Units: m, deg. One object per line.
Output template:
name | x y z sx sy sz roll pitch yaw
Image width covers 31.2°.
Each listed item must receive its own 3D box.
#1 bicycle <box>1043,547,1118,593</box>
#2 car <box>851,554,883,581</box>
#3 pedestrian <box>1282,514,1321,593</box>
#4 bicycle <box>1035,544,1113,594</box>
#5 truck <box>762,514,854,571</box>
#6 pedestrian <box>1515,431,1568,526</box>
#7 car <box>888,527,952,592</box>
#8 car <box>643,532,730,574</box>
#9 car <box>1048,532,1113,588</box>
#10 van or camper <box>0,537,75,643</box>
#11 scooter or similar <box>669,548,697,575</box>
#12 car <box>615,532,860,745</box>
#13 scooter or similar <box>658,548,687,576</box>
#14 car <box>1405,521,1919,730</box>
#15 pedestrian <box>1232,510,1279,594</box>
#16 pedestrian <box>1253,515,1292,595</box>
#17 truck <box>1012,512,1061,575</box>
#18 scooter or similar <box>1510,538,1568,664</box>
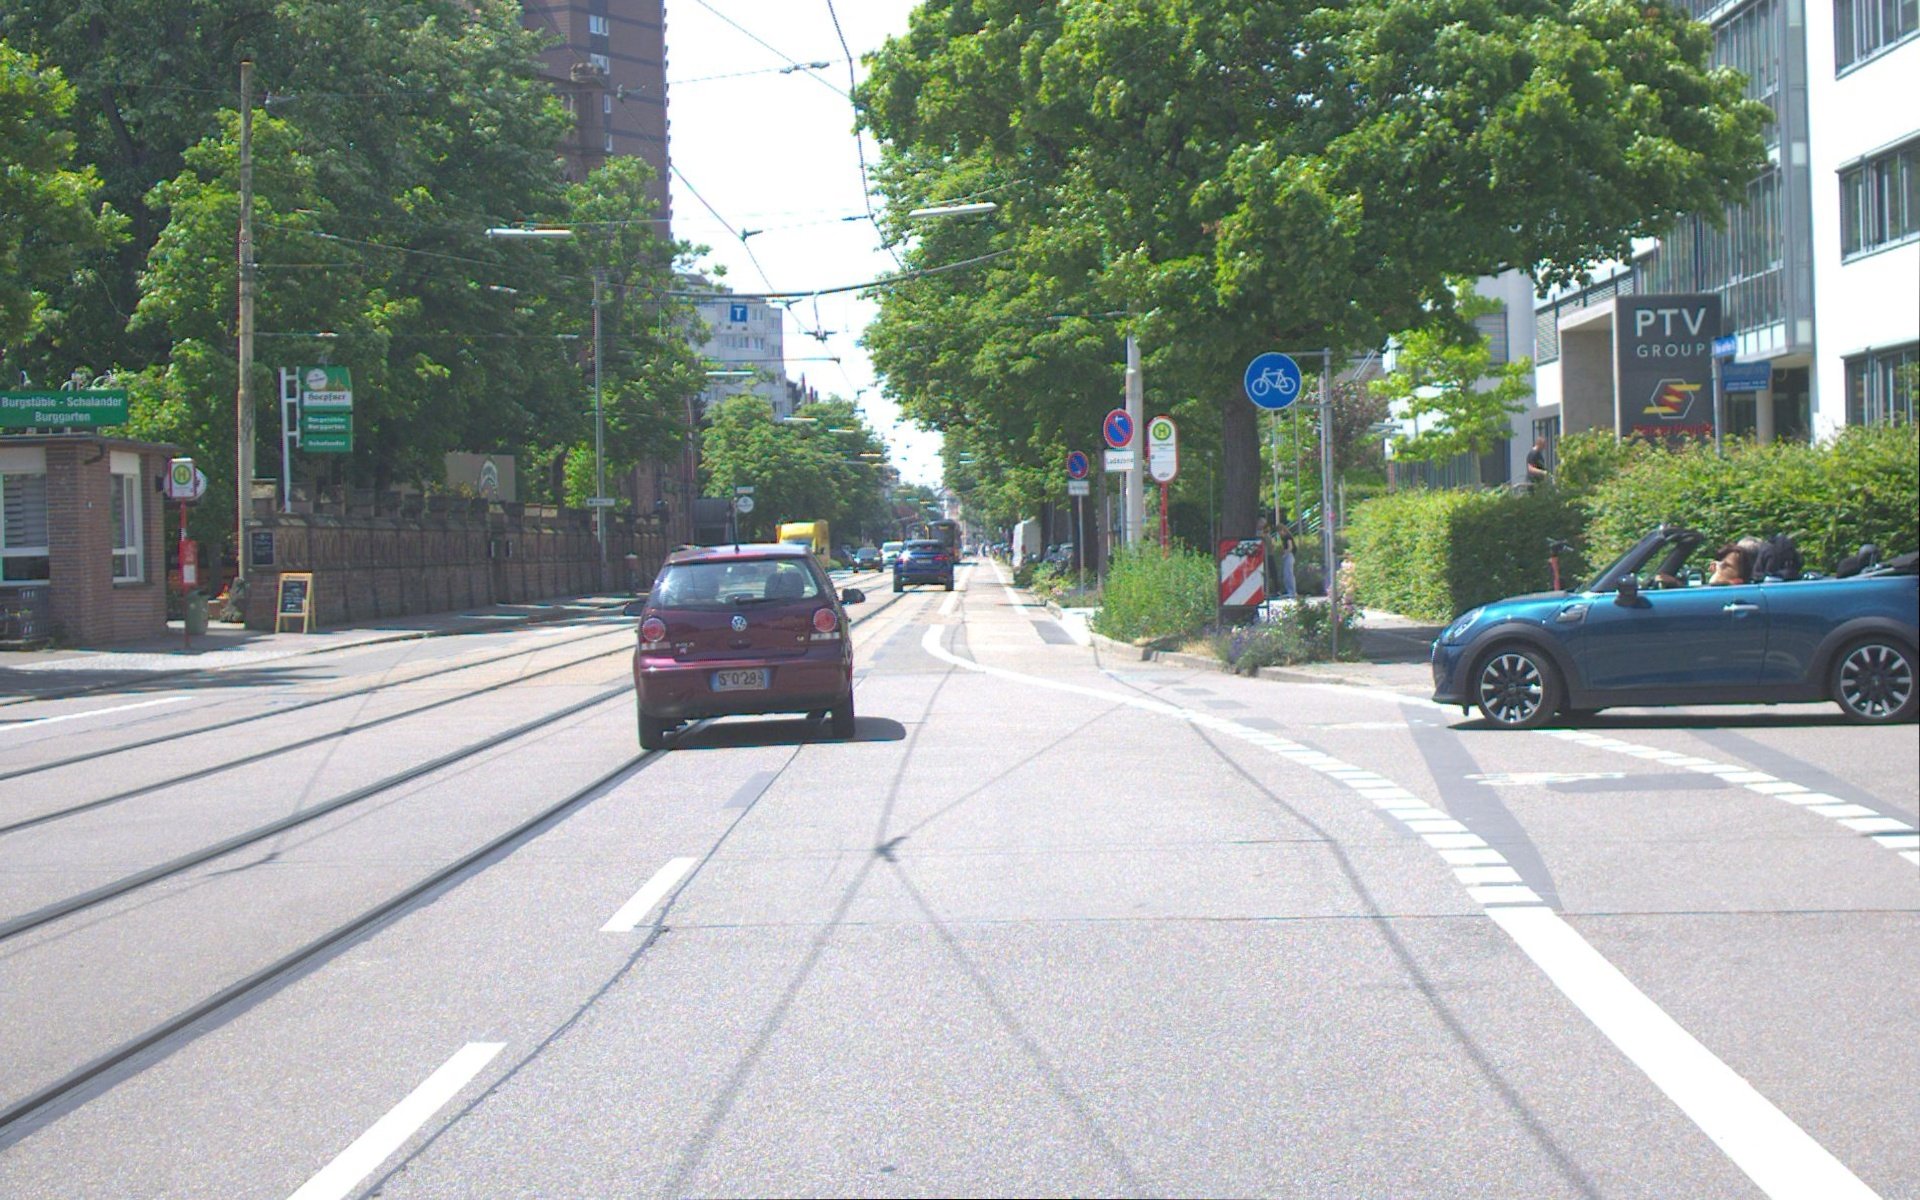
bicycle | 3.027 -0.751 86.260 1.825 1.081 0.718 -2 0 4
car | -5.597 -1.981 206.779 1.770 1.510 4.000 -1 1 1
pedestrian | 7.505 -1.015 75.515 0.537 1.709 0.566 -3 1 -29
bicycle | 2.830 -0.779 85.301 1.883 1.178 0.694 -2 1 1
truck | -7.646 -2.931 173.908 2.371 2.777 7.314 -1 1 16
pedestrian | 10.831 -2.248 64.024 0.874 1.709 1.089 -3 1 11
car | -1.291 -1.317 109.633 1.993 2.007 4.001 0 1 -2
car | -13.612 -2.352 171.219 3.987 2.007 2.000 -1 1 5
car | 3.414 -1.150 97.973 1.688 1.497 3.628 -3 1 0
van or camper | -16.192 -0.174 54.557 3.784 1.623 1.871 0 2 1
scooter or similar | -11.630 -1.620 144.214 1.088 1.151 0.527 0 1 -20
car | -1.654 0.236 26.643 1.619 1.481 4.000 -1 1 0
scooter or similar | -11.839 -1.573 141.769 1.088 1.151 0.527 0 1 -20
car | 5.278 0.174 24.088 3.919 1.367 1.701 -1 1 25
pedestrian | 6.485 -1.045 75.366 0.677 1.790 0.675 -4 1 -31
pedestrian | 6.795 -0.979 74.715 0.537 1.709 0.566 -3 1 -29
truck | 3.258 -2.465 147.589 1.993 2.652 4.875 0 1 0
scooter or similar | 5.755 -0.002 34.164 0.326 1.218 1.150 1 1 22
